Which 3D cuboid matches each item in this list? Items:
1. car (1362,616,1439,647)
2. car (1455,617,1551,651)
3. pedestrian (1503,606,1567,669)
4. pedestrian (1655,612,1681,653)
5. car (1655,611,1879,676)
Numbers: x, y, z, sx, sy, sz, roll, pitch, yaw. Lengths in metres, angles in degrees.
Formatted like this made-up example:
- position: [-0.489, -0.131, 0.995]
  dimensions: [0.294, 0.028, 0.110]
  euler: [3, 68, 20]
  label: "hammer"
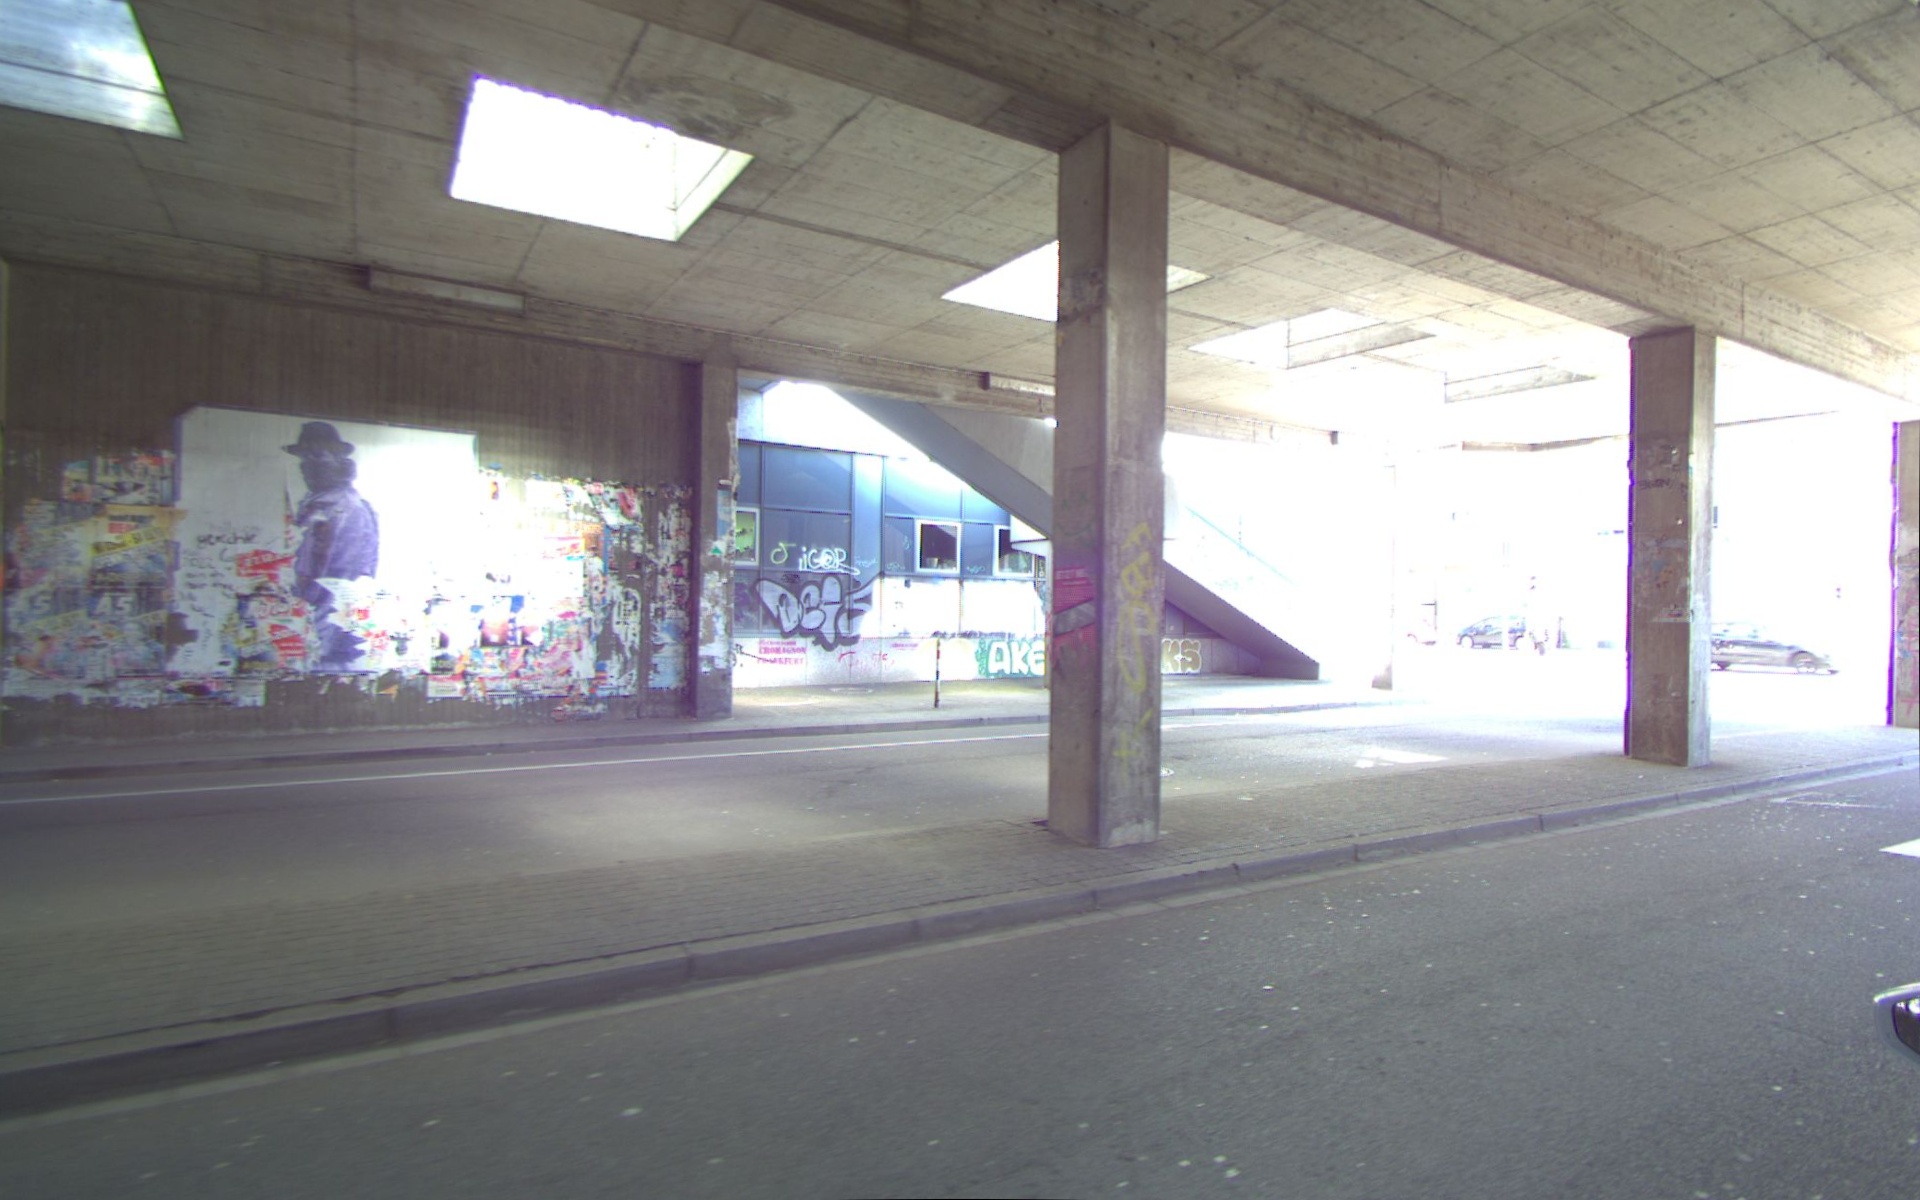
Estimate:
- position: [23.200, 1.636, 52.965]
  dimensions: [1.543, 1.526, 3.517]
  euler: [1, -1, -29]
  label: "car"
- position: [26.065, 1.595, 48.322]
  dimensions: [1.732, 1.528, 3.735]
  euler: [1, -1, -31]
  label: "car"
- position: [16.443, 1.074, 28.746]
  dimensions: [1.123, 1.760, 1.111]
  euler: [1, -1, -17]
  label: "pedestrian"
- position: [30.667, 1.416, 43.485]
  dimensions: [0.619, 1.727, 0.715]
  euler: [1, 0, -37]
  label: "pedestrian"
- position: [22.692, 1.162, 28.481]
  dimensions: [1.972, 1.663, 4.566]
  euler: [0, 0, -24]
  label: "car"
